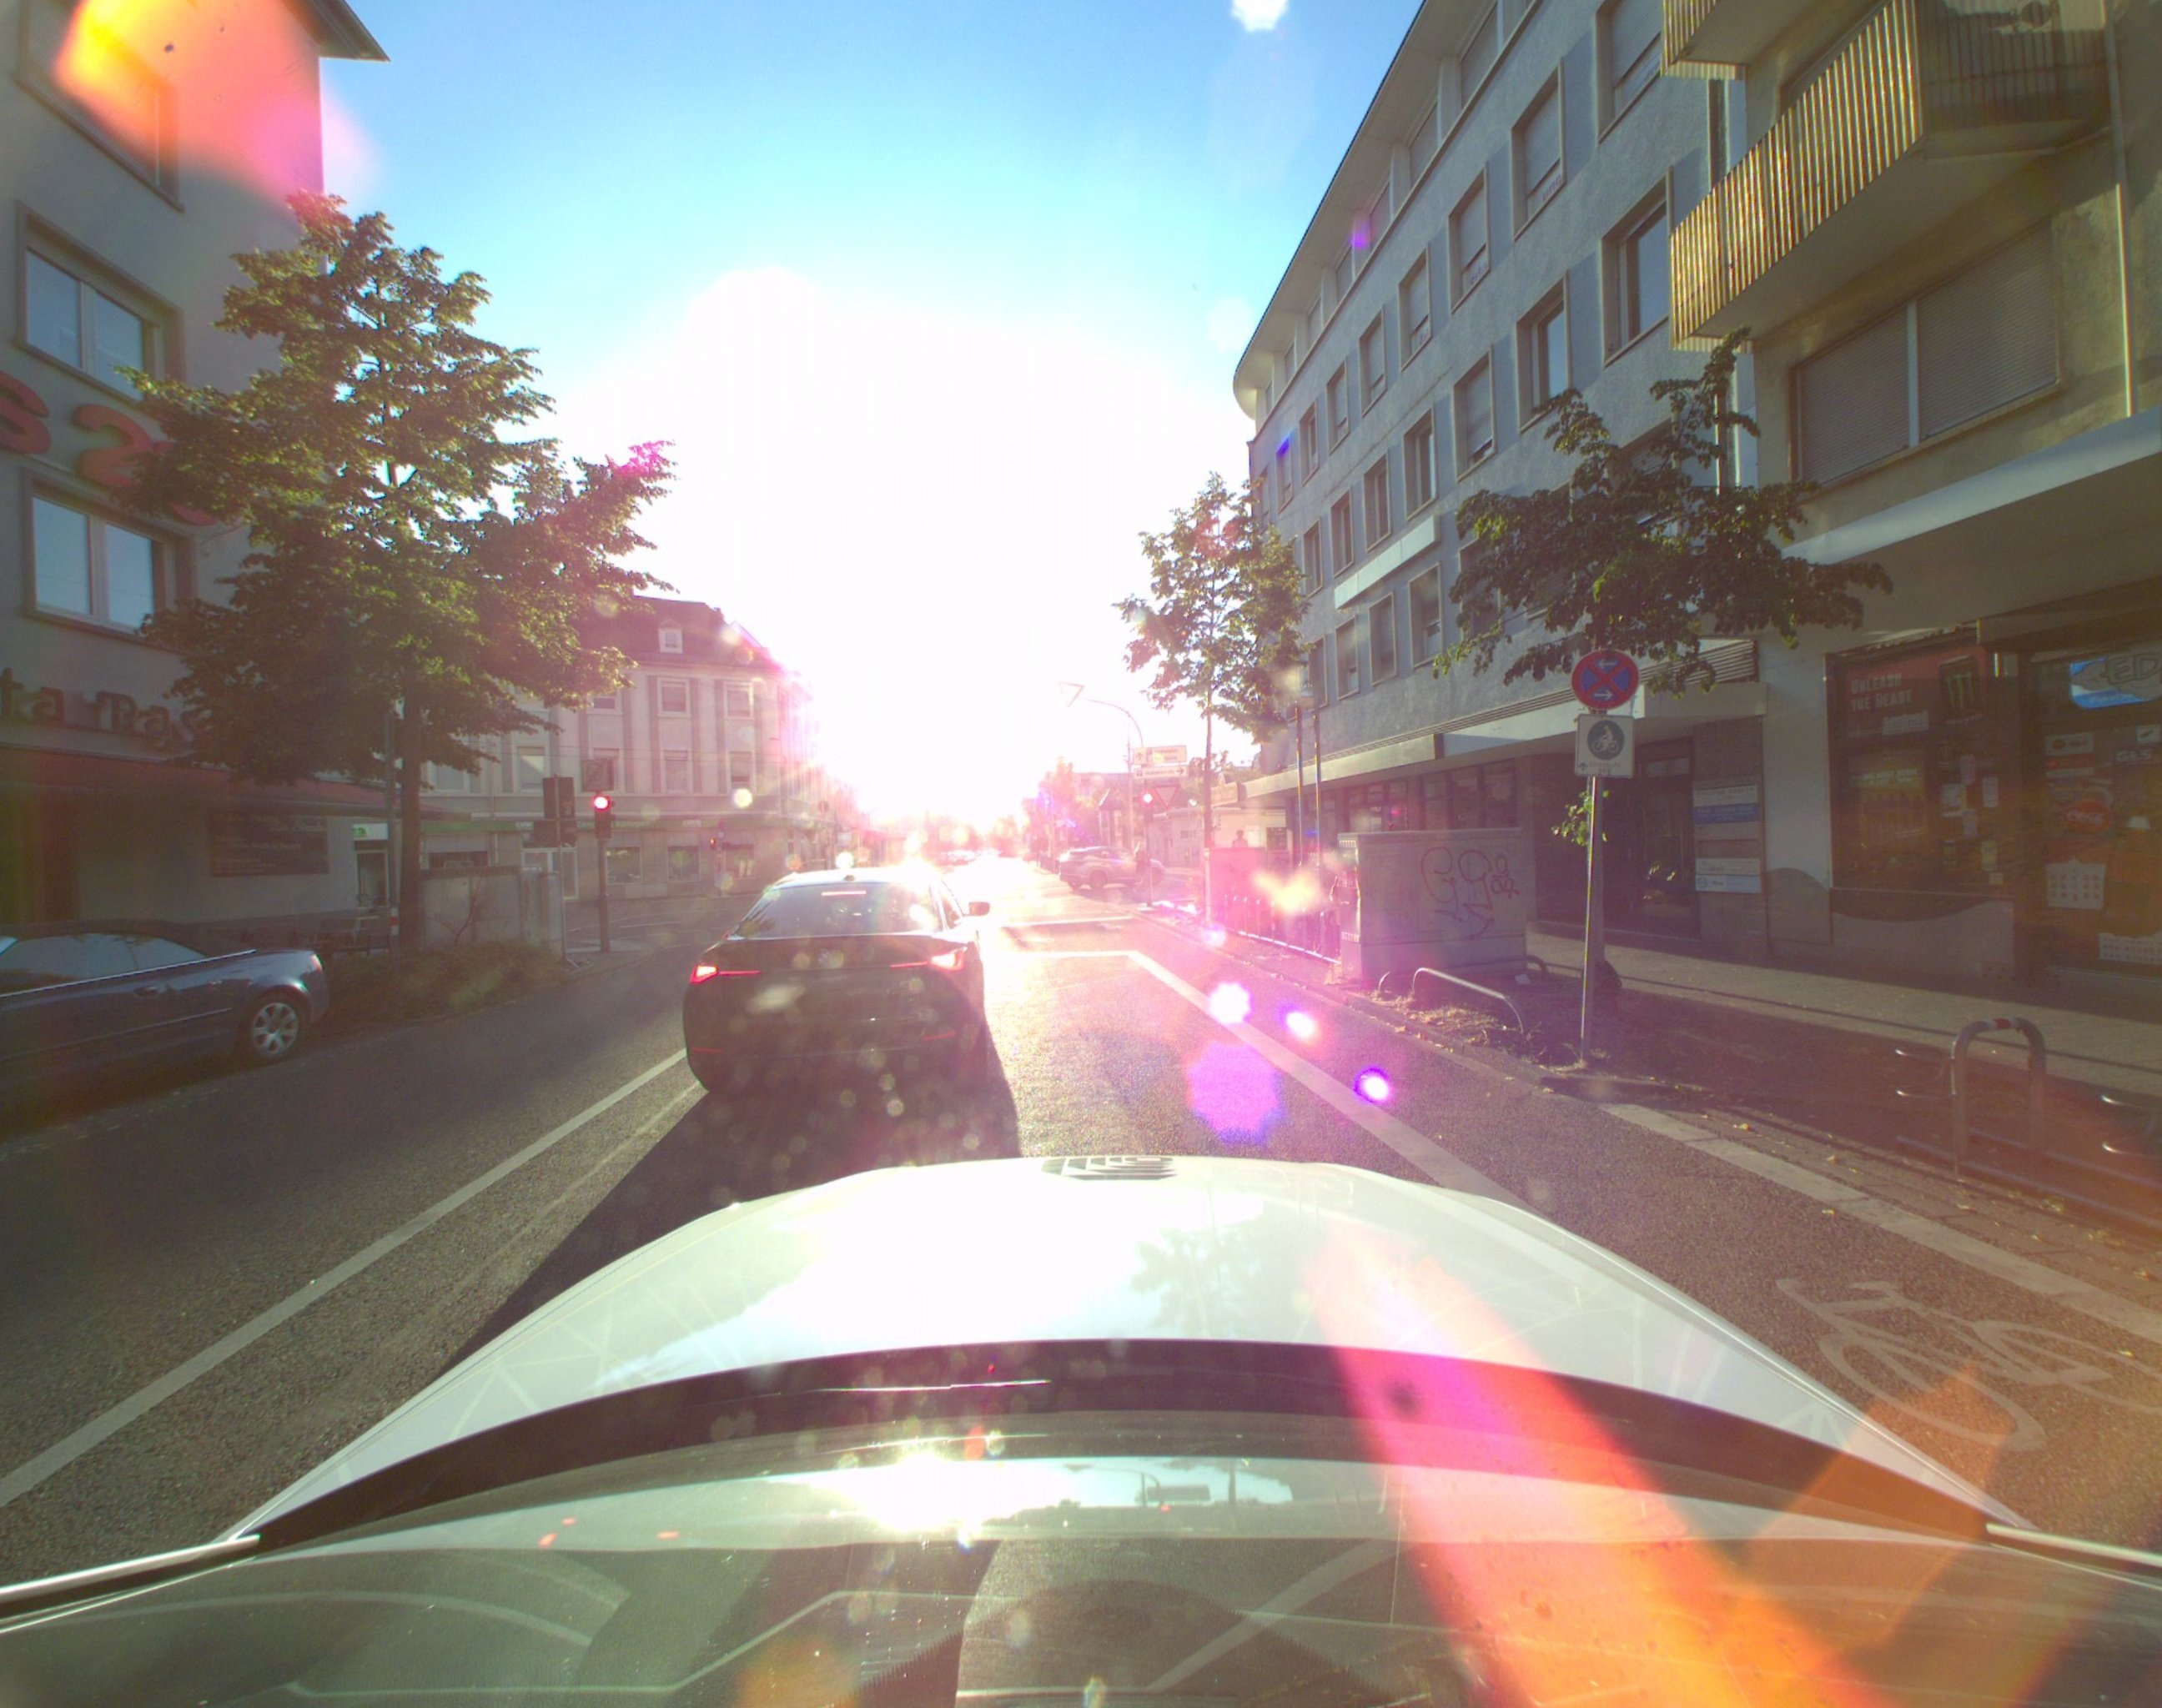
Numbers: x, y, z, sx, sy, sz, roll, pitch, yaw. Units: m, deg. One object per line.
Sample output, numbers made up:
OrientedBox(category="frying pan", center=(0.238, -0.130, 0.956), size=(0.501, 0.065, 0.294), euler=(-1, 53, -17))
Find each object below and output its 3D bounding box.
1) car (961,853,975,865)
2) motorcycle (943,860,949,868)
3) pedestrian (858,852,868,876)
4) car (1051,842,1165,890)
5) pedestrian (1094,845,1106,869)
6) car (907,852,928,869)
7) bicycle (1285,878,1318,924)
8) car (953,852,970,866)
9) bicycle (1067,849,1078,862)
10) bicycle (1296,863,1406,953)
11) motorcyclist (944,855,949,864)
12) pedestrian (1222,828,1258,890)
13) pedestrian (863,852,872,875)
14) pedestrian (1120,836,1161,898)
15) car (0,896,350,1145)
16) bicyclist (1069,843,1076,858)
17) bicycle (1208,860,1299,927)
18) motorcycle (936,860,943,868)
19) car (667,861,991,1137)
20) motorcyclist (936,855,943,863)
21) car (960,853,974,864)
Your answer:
OrientedBox(category="car", center=(-15.717, 0.654, 113.570), size=(1.816, 1.519, 3.992), euler=(-2, 0, -6))
OrientedBox(category="motorcycle", center=(-15.596, 1.147, 94.328), size=(0.574, 0.915, 2.196), euler=(0, 0, -6))
OrientedBox(category="pedestrian", center=(-17.261, 0.776, 64.545), size=(0.642, 1.876, 0.630), euler=(0, 0, -7))
OrientedBox(category="car", center=(1.114, 0.459, 32.780), size=(4.307, 1.707, 1.787), euler=(-2, 1, -32))
OrientedBox(category="pedestrian", center=(1.223, 0.182, 52.369), size=(0.733, 1.529, 0.470), euler=(0, 0, -12))
OrientedBox(category="car", center=(-17.581, 0.682, 87.689), size=(1.816, 1.788, 3.992), euler=(-2, 0, -6))
OrientedBox(category="bicycle", center=(4.169, 0.877, 15.425), size=(0.249, 0.796, 1.114), euler=(0, 0, -4))
OrientedBox(category="car", center=(-13.931, 0.587, 95.179), size=(1.816, 1.519, 3.992), euler=(-2, 0, -6))
OrientedBox(category="bicycle", center=(-0.803, 0.169, 78.042), size=(0.551, 1.159, 2.133), euler=(-1, -1, -14))
OrientedBox(category="bicycle", center=(3.801, 0.744, 11.489), size=(1.438, 1.220, 0.383), euler=(0, 0, -5))
OrientedBox(category="motorcyclist", center=(-15.588, 0.615, 94.230), size=(0.574, 0.995, 0.701), euler=(0, 0, -6))
OrientedBox(category="pedestrian", center=(4.816, 0.146, 24.703), size=(0.834, 1.841, 0.677), euler=(-2, 0, -6))
OrientedBox(category="pedestrian", center=(-17.157, 0.774, 65.432), size=(0.616, 1.876, 0.676), euler=(0, 0, -10))
OrientedBox(category="pedestrian", center=(1.896, 0.397, 26.002), size=(1.006, 1.860, 0.634), euler=(-5, 2, -27))
OrientedBox(category="car", center=(-7.641, 1.155, 5.545), size=(1.721, 1.415, 4.270), euler=(-4, 0, -7))
OrientedBox(category="bicyclist", center=(-0.810, -0.318, 78.058), size=(0.551, 1.481, 0.719), euler=(-1, -1, -15))
OrientedBox(category="bicycle", center=(3.218, 0.727, 15.202), size=(1.610, 1.171, 0.318), euler=(-2, 0, -5))
OrientedBox(category="motorcycle", center=(-16.450, 1.153, 94.733), size=(0.574, 0.915, 2.196), euler=(0, 0, -6))
OrientedBox(category="car", center=(-1.647, 0.809, 6.654), size=(1.735, 1.428, 4.213), euler=(-1, 0, -7))
OrientedBox(category="motorcyclist", center=(-16.451, 0.622, 94.724), size=(0.574, 0.915, 2.196), euler=(0, 0, -6))
OrientedBox(category="car", center=(-17.304, 0.654, 123.766), size=(1.816, 1.519, 3.992), euler=(-2, 0, -6))
